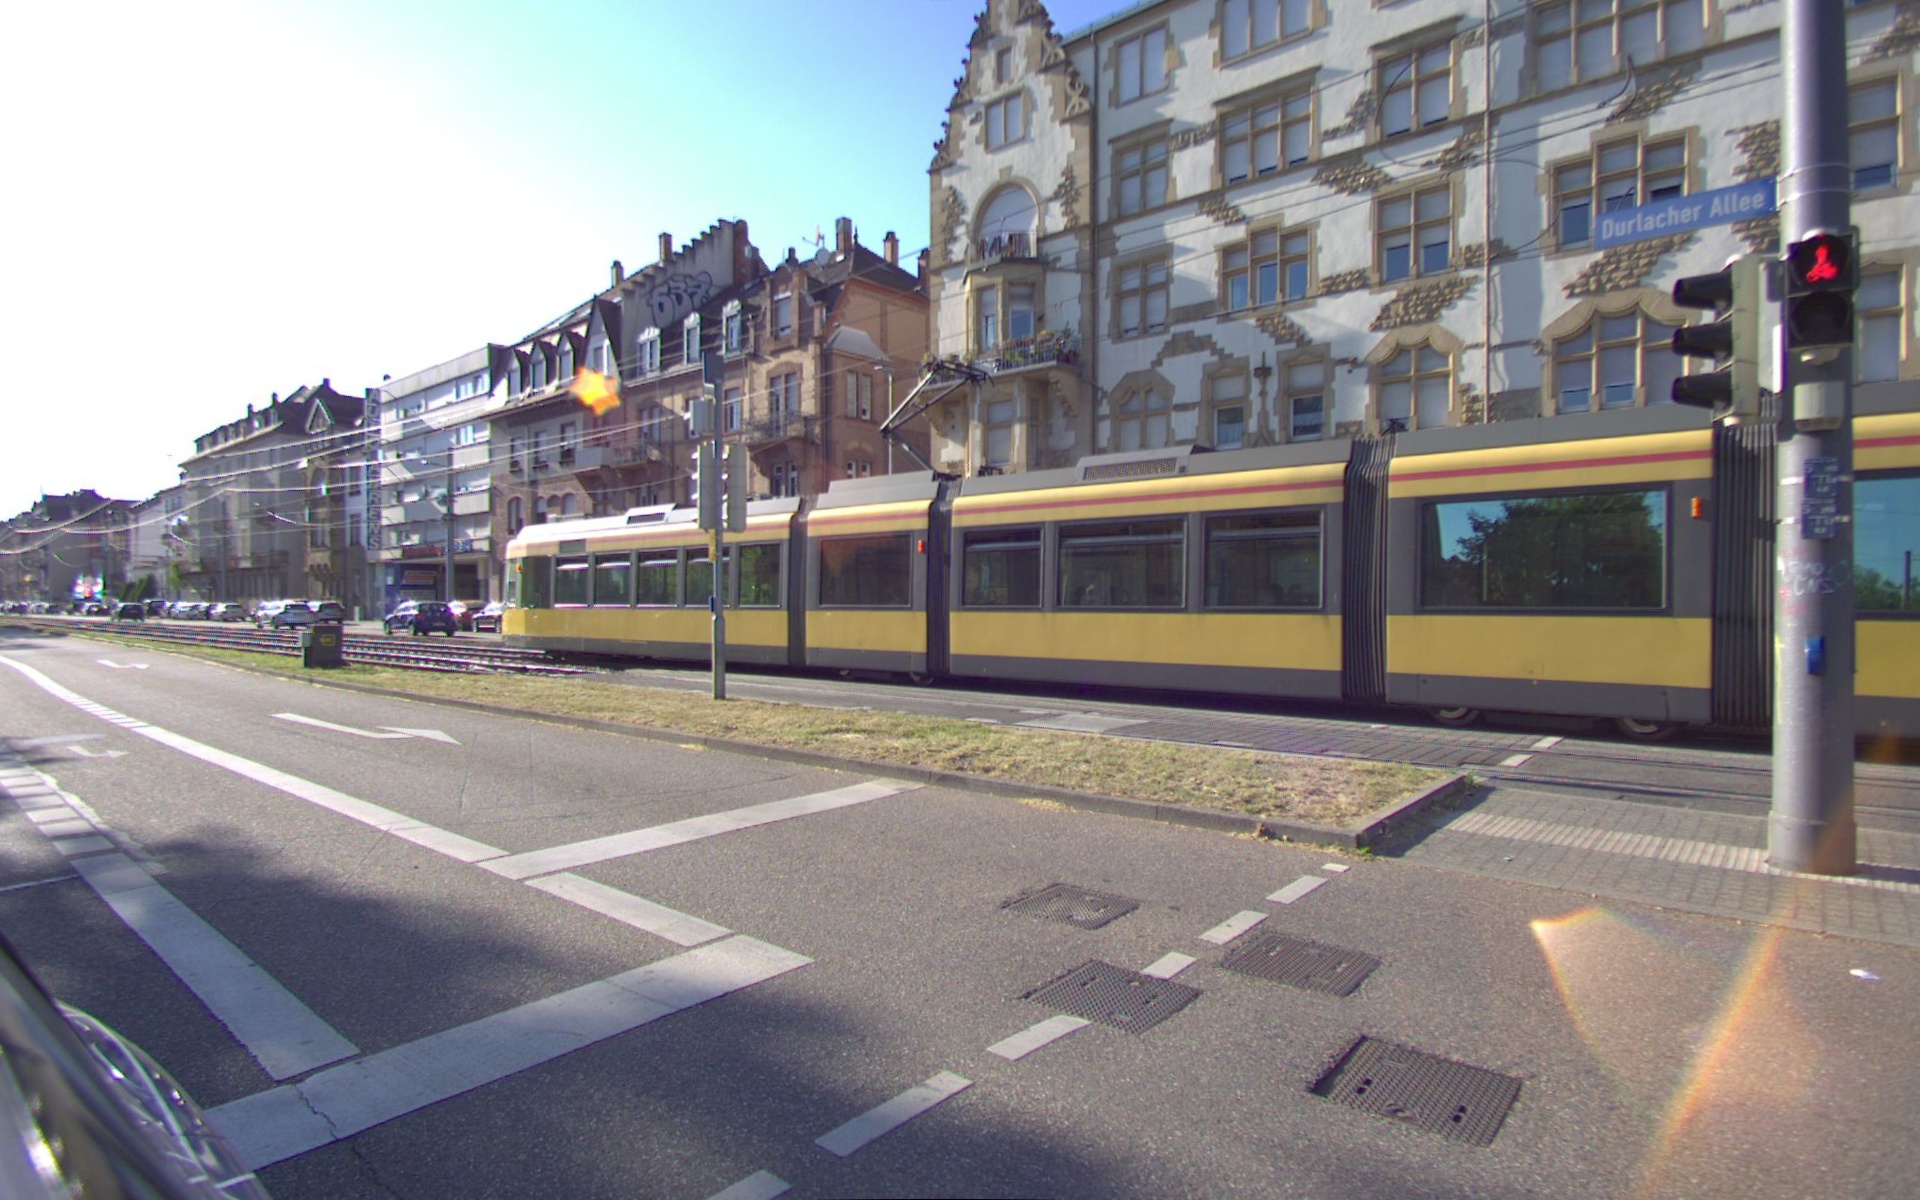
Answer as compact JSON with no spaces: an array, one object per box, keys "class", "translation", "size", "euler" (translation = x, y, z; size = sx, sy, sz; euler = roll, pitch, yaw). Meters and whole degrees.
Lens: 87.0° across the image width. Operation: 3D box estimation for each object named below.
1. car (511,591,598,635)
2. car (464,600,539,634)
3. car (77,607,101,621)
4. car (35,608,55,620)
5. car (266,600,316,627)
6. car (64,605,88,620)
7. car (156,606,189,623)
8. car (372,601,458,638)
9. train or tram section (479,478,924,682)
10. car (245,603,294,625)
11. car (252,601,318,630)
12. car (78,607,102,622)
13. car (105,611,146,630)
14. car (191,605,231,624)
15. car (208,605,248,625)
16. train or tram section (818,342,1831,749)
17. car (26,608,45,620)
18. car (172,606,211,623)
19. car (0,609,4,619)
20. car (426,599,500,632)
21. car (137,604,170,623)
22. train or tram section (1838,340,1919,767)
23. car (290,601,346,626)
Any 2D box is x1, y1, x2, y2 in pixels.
[{"class":"car","translation":[-18.103,0.552,45.099],"size":[4.418,1.771,1.865],"euler":[-1,3,43]},{"class":"car","translation":[-22.017,0.817,48.531],"size":[3.925,1.448,1.678],"euler":[-1,2,40]},{"class":"car","translation":[-102.921,1.685,119.627],"size":[3.387,1.583,1.663],"euler":[-1,1,41]},{"class":"car","translation":[-126.366,1.926,139.811],"size":[3.448,1.602,1.603],"euler":[-1,1,41]},{"class":"car","translation":[-46.445,0.932,70.231],"size":[4.262,1.700,1.836],"euler":[-1,1,42]},{"class":"car","translation":[-110.345,1.597,126.317],"size":[3.879,1.800,1.705],"euler":[-1,1,41]},{"class":"car","translation":[-74.413,1.372,95.572],"size":[3.821,1.490,1.779],"euler":[-1,1,42]},{"class":"car","translation":[-22.550,0.787,41.839],"size":[4.154,1.468,1.801],"euler":[-1,-1,41]},{"class":"train or tram section","translation":[-6.573,-0.281,22.874],"size":[13.197,3.515,2.784],"euler":[-1,-1,41]},{"class":"car","translation":[-50.207,1.003,73.554],"size":[3.721,1.507,1.736],"euler":[-1,1,35]},{"class":"car","translation":[-35.908,0.801,53.804],"size":[4.538,1.468,1.801],"euler":[-1,-1,41]},{"class":"car","translation":[-99.541,1.607,115.783],"size":[3.406,1.644,1.656],"euler":[-1,1,42]},{"class":"car","translation":[-66.748,1.611,80.924],"size":[4.163,1.468,1.801],"euler":[-1,-1,40]},{"class":"car","translation":[-63.144,1.224,85.306],"size":[3.819,1.441,1.780],"euler":[-1,1,39]},{"class":"car","translation":[-59.227,1.194,81.860],"size":[3.821,1.490,1.779],"euler":[-1,1,42]},{"class":"train or tram section","translation":[3.424,-0.410,14.139],"size":[13.197,3.515,2.784],"euler":[-1,-1,41]},{"class":"car","translation":[-133.011,2.009,145.582],"size":[3.448,1.602,1.603],"euler":[-1,1,41]},{"class":"car","translation":[-66.586,1.266,87.703],"size":[3.530,1.457,1.624],"euler":[-1,1,34]},{"class":"car","translation":[-165.196,2.417,173.373],"size":[3.448,1.602,1.603],"euler":[-1,1,41]},{"class":"car","translation":[-25.498,0.792,51.887],"size":[4.207,1.510,1.838],"euler":[-1,2,40]},{"class":"car","translation":[-78.910,1.335,98.968],"size":[3.914,1.750,1.851],"euler":[-1,1,42]},{"class":"train or tram section","translation":[13.038,-0.441,5.702],"size":[12.147,3.515,2.784],"euler":[-1,-1,41]},{"class":"car","translation":[-42.382,0.888,66.761],"size":[4.378,1.510,1.837],"euler":[-1,1,40]}]
